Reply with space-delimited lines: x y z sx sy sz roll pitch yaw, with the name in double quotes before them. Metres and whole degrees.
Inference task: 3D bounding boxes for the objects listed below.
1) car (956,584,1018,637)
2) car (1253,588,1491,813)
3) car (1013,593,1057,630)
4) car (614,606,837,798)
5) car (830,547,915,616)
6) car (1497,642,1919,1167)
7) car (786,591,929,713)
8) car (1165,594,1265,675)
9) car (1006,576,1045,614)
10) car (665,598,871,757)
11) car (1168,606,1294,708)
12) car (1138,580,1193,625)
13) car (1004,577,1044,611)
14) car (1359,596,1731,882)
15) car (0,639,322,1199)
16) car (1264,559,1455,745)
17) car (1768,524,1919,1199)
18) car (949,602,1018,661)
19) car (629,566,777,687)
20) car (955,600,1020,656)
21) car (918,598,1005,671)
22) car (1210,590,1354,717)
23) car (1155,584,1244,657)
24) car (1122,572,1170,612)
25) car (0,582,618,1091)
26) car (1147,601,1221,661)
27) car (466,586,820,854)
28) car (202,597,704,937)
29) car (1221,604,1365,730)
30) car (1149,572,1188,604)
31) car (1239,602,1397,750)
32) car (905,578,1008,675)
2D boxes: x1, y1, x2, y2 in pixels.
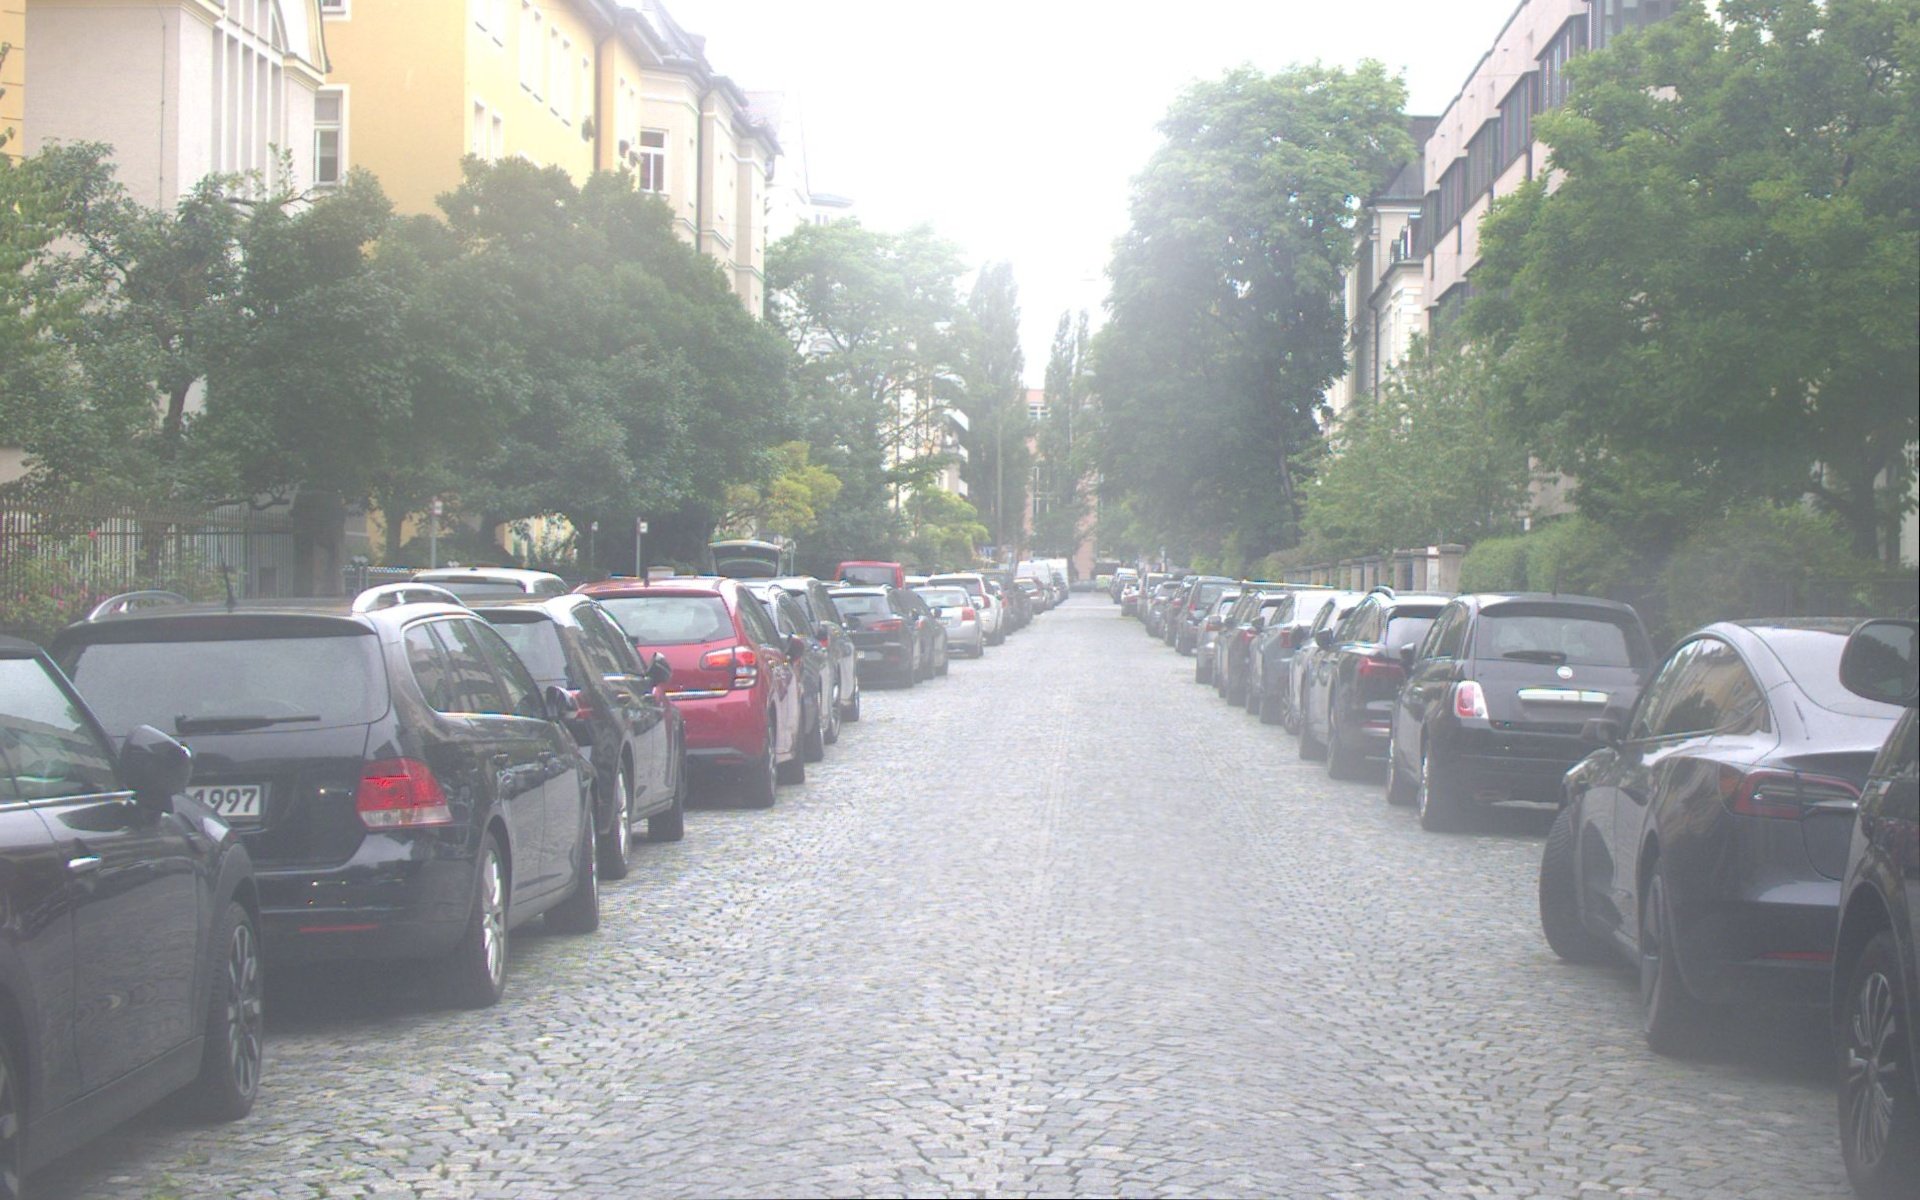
"car" 0.906 0.345 113.587 1.922 1.630 3.739 -3 -1 1
"car" 3.158 0.742 26.862 1.660 1.630 3.538 0 0 4
"car" 3.452 0.534 158.697 1.922 1.630 3.739 -3 -1 1
"car" -1.896 0.813 28.407 1.432 1.455 2.650 -3 -1 4
"car" -2.226 -0.446 88.248 1.922 1.630 3.739 -3 -1 1
"car" 3.168 0.939 12.273 1.922 1.429 4.800 3 0 3
"car" -1.421 0.719 48.705 1.922 1.630 3.739 1 0 -1
"car" 5.551 0.752 75.291 1.922 1.630 3.739 -3 -1 1
"car" 3.642 -0.248 191.869 1.993 2.007 4.000 1 -1 -1
"car" -1.899 0.758 34.909 1.660 1.529 3.484 0 0 4
"car" 4.153 0.866 53.107 1.660 1.460 3.448 -3 -1 1
"car" 7.941 0.123 133.118 1.922 1.630 3.739 -3 -1 1
"car" 3.298 -0.296 176.754 1.922 1.630 3.739 -3 -1 1
"car" 3.760 0.851 22.751 1.922 1.630 4.045 3 0 3
"car" -2.768 0.898 8.273 1.703 1.511 3.727 -1 0 1
"car" 3.899 0.481 33.150 1.661 1.630 3.447 -3 -1 8
"car" 3.088 0.698 6.667 2.021 1.684 4.850 1 0 2
"car" 0.719 0.932 102.258 1.922 1.630 3.739 -3 -1 1
"car" -3.649 0.376 49.307 1.778 1.630 3.739 1 0 1
"car" 0.878 0.865 107.414 1.922 1.630 3.739 -3 -1 1
"car" 0.066 0.816 82.432 1.922 1.630 3.739 -3 -1 1
"car" 4.461 0.735 48.049 1.660 1.630 3.448 -3 -1 1
"car" 5.775 0.496 83.236 1.922 1.630 3.739 -3 -1 1
"car" 8.143 -0.340 150.568 1.922 1.630 3.739 -3 -1 1
"car" -2.471 0.768 12.956 1.726 1.535 4.336 -3 -1 2
"car" 6.495 0.900 100.001 1.922 1.630 3.739 -3 -1 1
"car" -2.108 0.786 23.913 1.922 1.630 3.805 -3 -1 2
"car" -2.577 0.814 18.437 1.922 1.541 4.000 -3 -1 2
"car" 4.137 0.817 43.039 1.660 1.451 3.447 -3 -1 5
"car" 11.610 -0.657 191.509 1.922 1.630 3.739 -3 -1 1
"car" 3.961 0.810 37.984 1.597 1.497 3.261 -3 -1 6
"car" -0.042 0.536 69.453 1.922 1.833 3.739 -3 -1 1
